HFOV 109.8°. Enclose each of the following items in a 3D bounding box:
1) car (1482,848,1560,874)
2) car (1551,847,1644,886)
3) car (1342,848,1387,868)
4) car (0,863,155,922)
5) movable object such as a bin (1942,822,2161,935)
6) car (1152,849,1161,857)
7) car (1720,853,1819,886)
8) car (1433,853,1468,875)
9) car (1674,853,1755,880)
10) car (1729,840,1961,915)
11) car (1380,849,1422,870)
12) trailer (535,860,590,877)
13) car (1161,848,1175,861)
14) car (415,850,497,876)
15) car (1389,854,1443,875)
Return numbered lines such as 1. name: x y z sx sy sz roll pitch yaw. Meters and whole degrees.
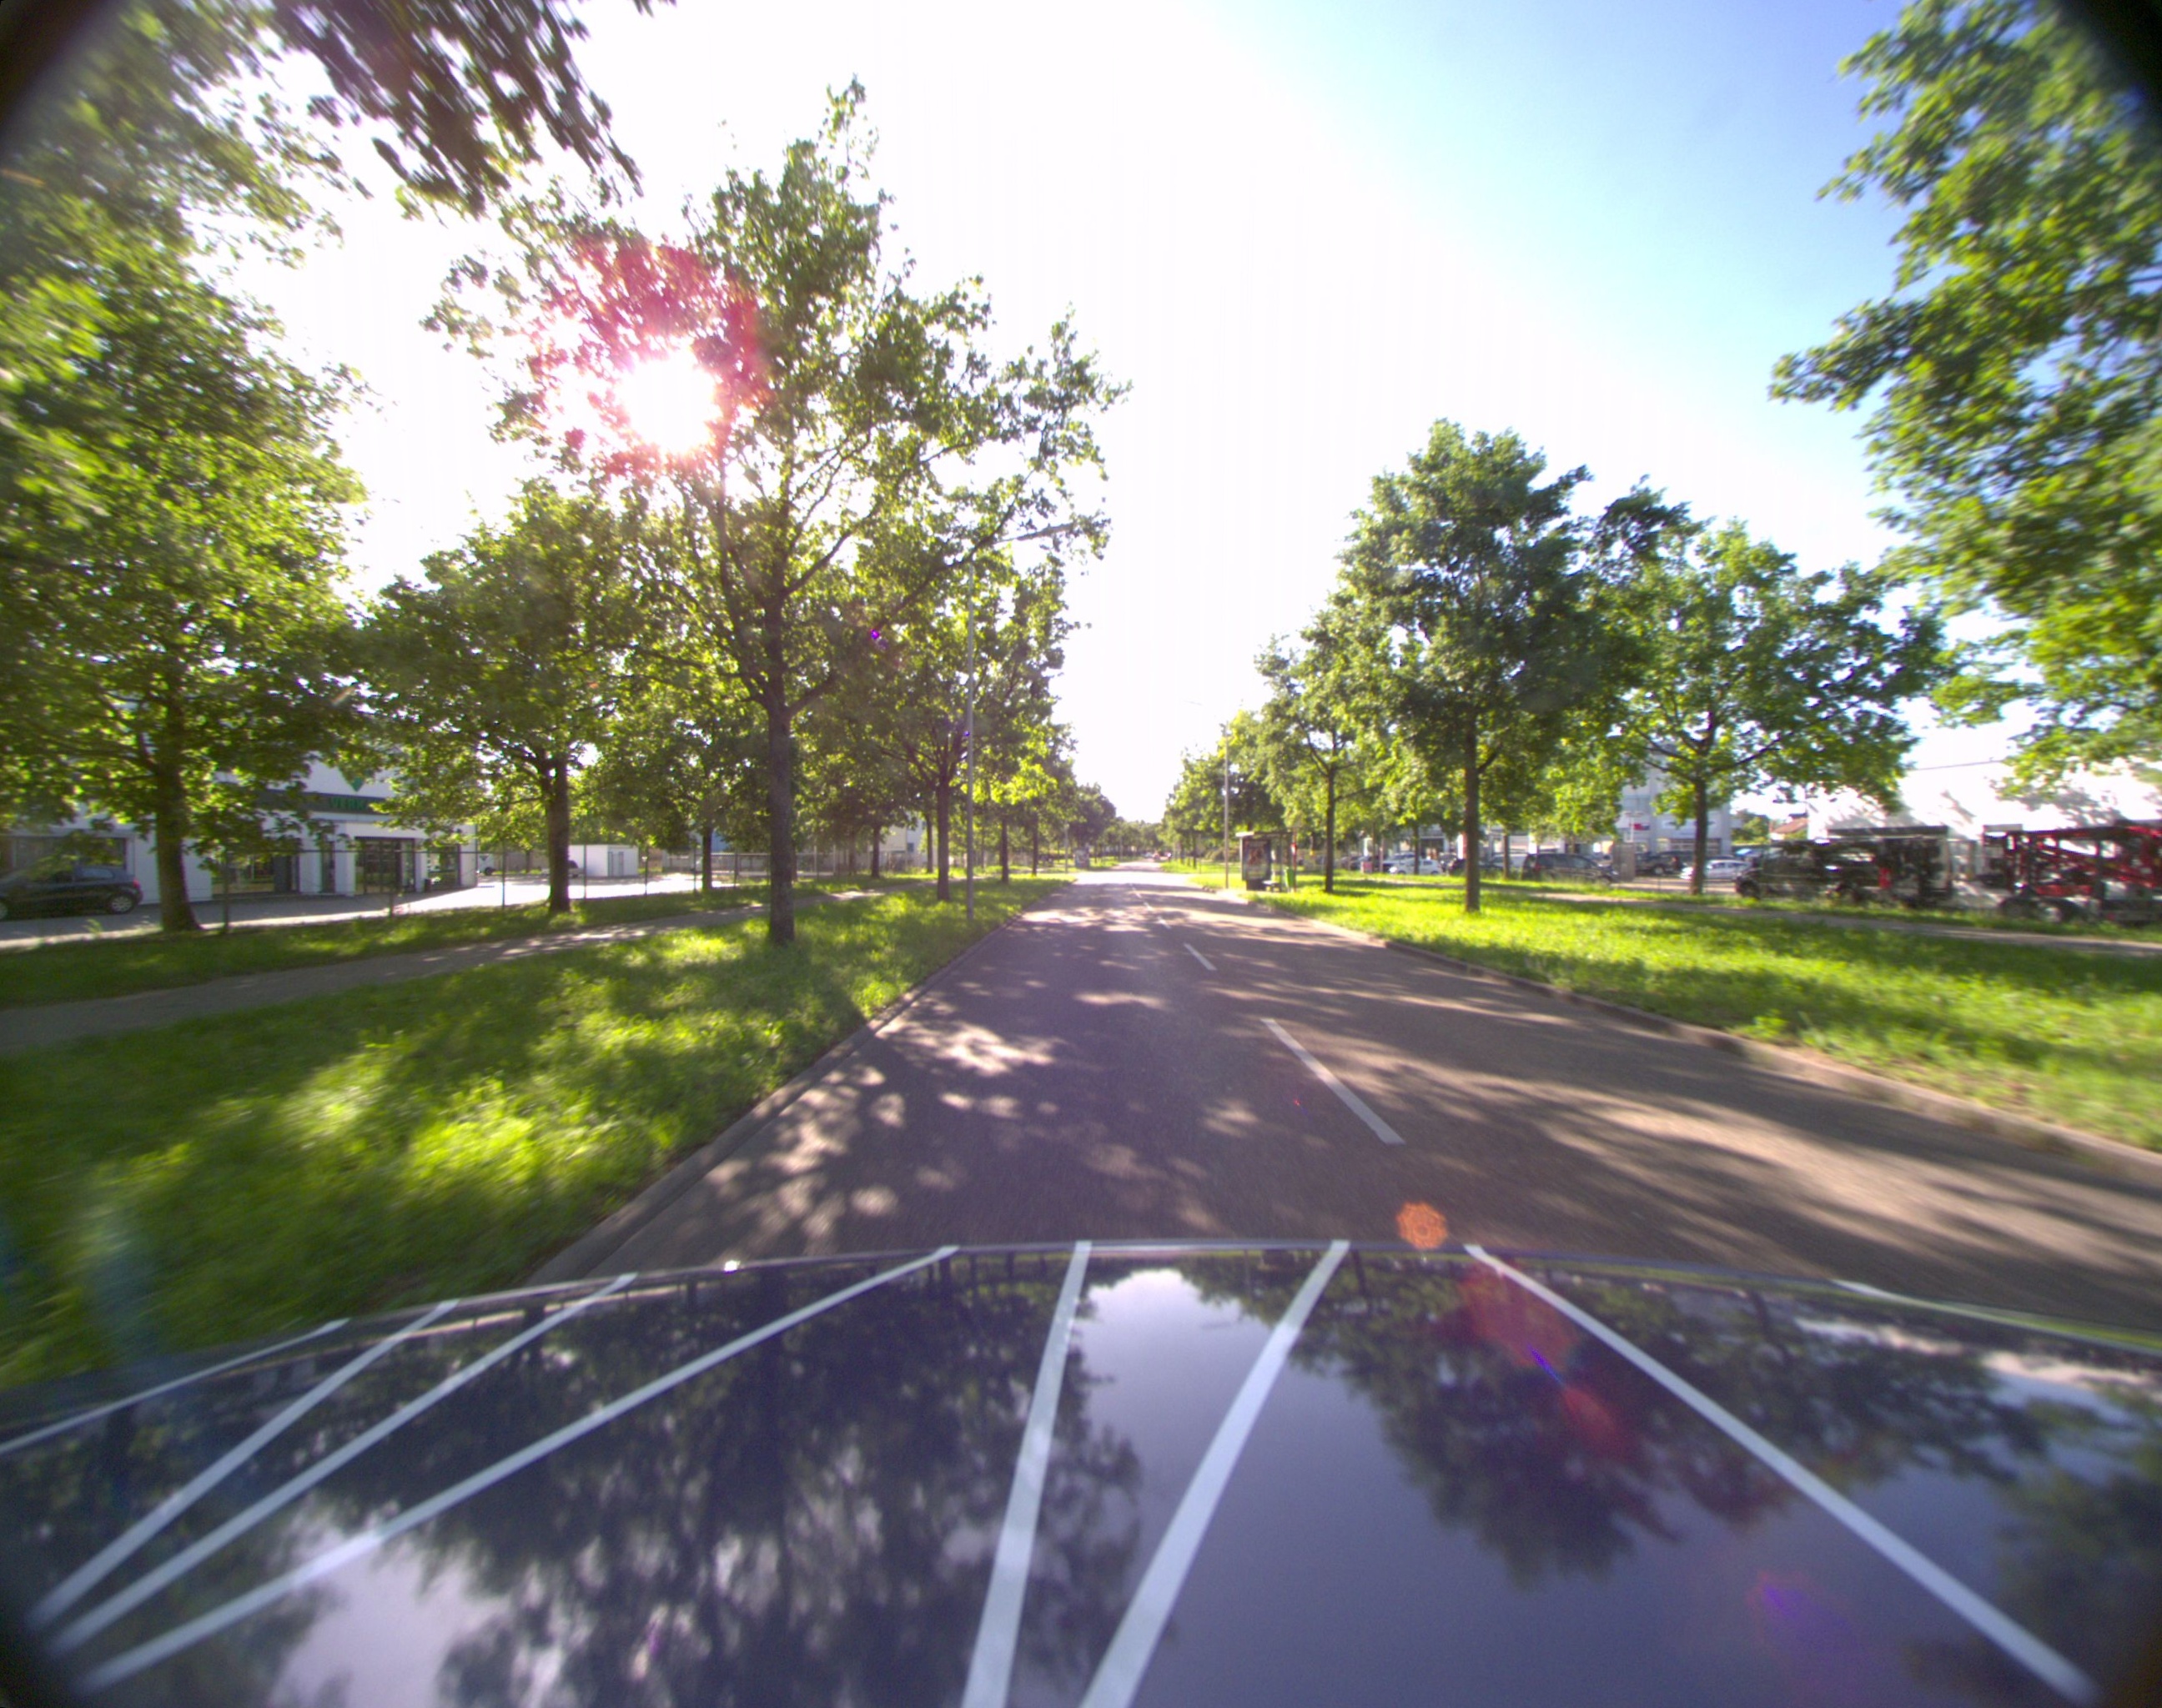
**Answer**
1. car: 34.130 0.519 59.068 5.039 1.827 2.003 -2 1 24
2. car: 27.355 0.651 40.386 3.989 2.002 2.004 0 0 31
3. car: 28.816 0.393 77.216 4.004 1.827 1.996 -2 1 -22
4. car: -29.205 1.066 21.090 1.720 1.497 4.159 -2 1 3
5. movable object such as a bin: 25.087 0.512 19.177 1.998 2.501 4.236 -2 1 2
6. car: 18.680 -0.316 187.783 1.997 2.002 4.002 0 0 8
7. car: 42.035 0.917 46.502 3.992 1.827 2.002 -2 1 17
8. car: 34.166 0.931 70.194 1.994 1.827 4.008 -1 1 39
9. car: 45.844 0.899 55.083 3.992 1.827 2.002 -2 1 19
10. car: 24.644 0.668 24.938 1.998 2.162 5.671 -1 0 2
11. car: 30.306 0.500 71.868 4.007 1.827 1.995 -3 1 -39
12. trailer: -40.947 1.115 59.988 3.588 1.259 1.733 0 0 18
13. car: 13.321 0.067 116.058 1.997 2.002 4.002 0 0 8
14. car: -53.866 0.741 65.617 1.996 2.002 5.121 -2 1 18
15. car: 27.048 0.856 61.457 3.885 1.493 2.003 -2 1 22
